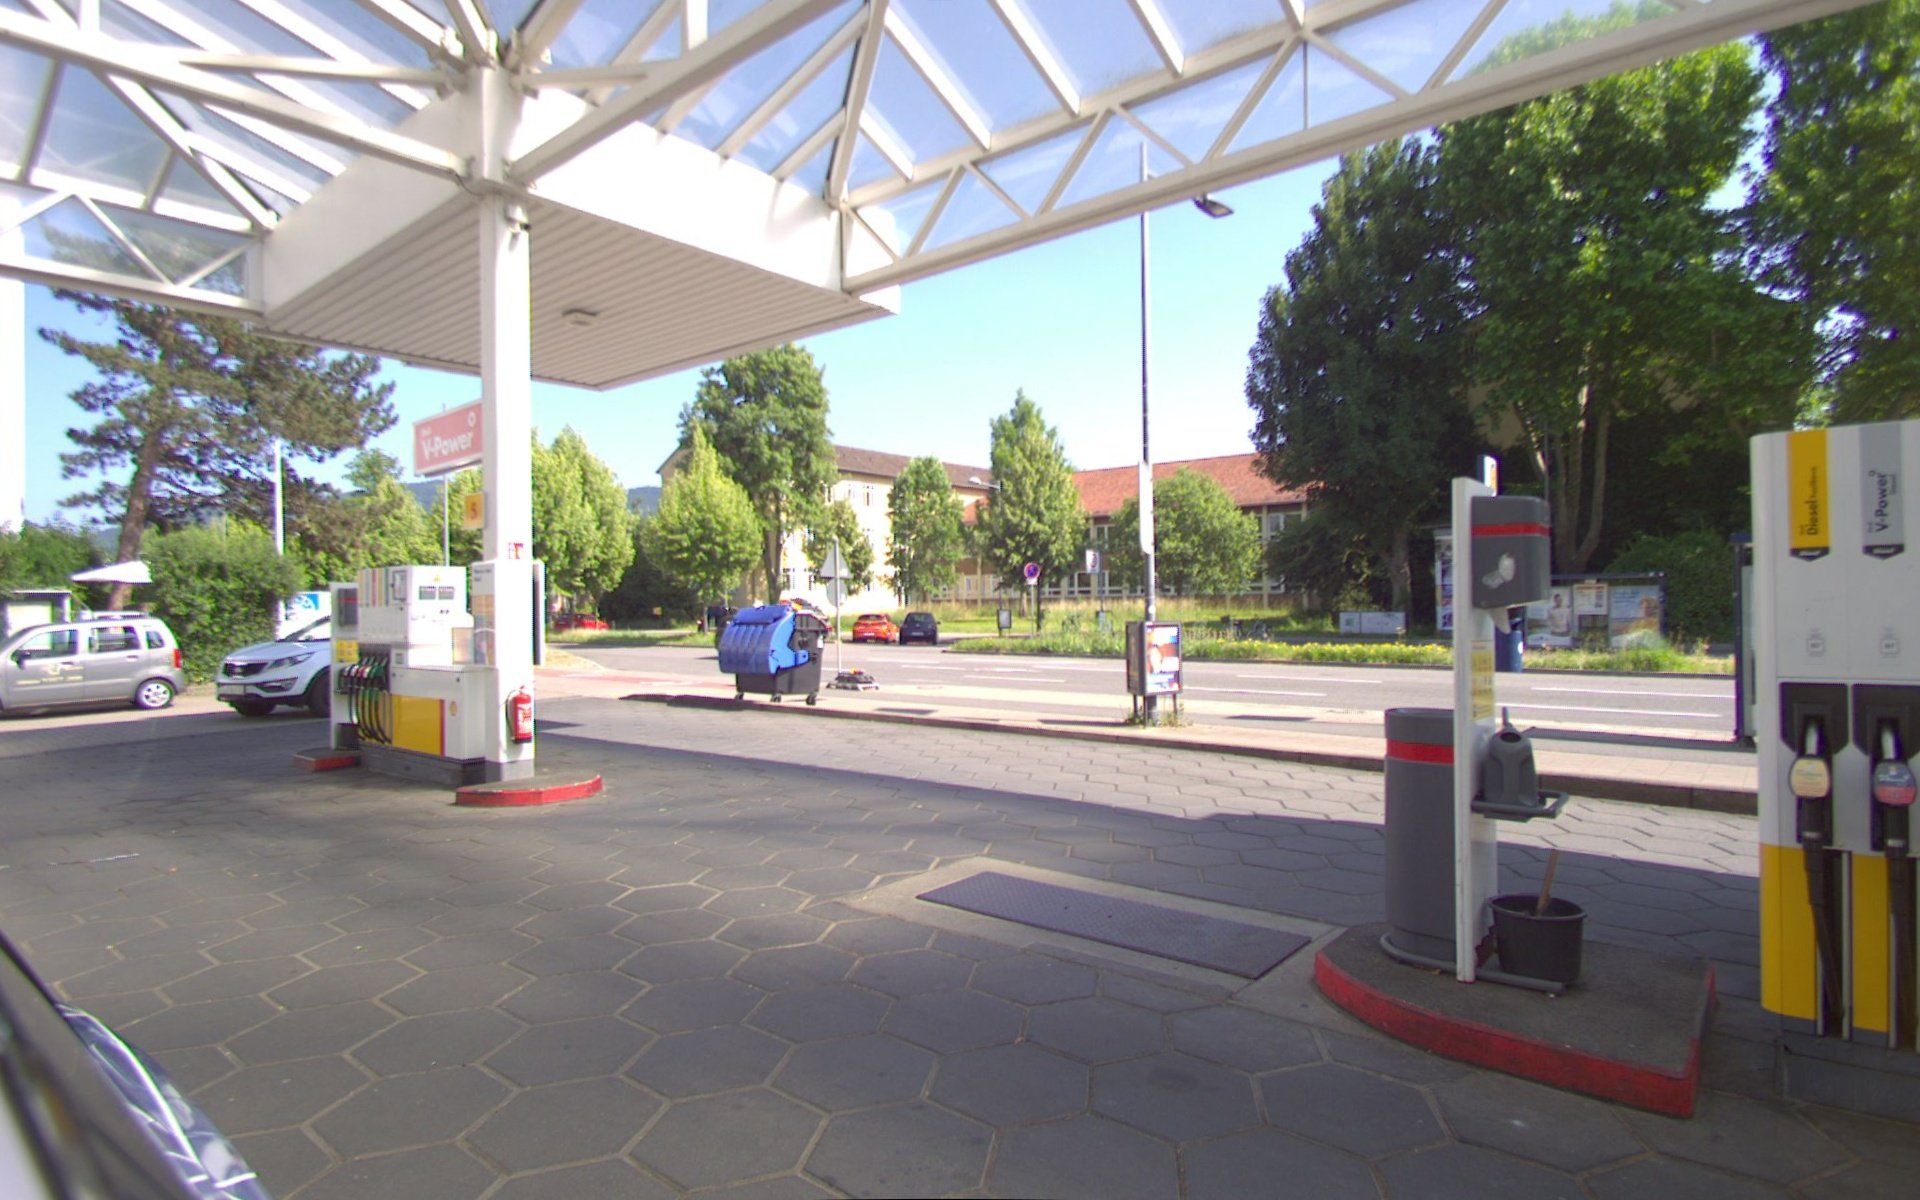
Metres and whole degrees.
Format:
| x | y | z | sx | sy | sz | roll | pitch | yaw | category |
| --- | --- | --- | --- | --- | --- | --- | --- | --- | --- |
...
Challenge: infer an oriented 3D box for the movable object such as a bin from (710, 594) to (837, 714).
| x | y | z | sx | sy | sz | roll | pitch | yaw | category |
| --- | --- | --- | --- | --- | --- | --- | --- | --- | --- |
| -2.811 | 0.797 | 15.278 | 1.337 | 1.701 | 1.324 | -1 | -3 | 41 | movable object such as a bin |

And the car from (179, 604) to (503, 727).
| x | y | z | sx | sy | sz | roll | pitch | yaw | category |
| --- | --- | --- | --- | --- | --- | --- | --- | --- | --- |
| -9.904 | 0.957 | 16.631 | 1.947 | 1.719 | 4.279 | -2 | -1 | 20 | car |

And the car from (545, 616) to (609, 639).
| x | y | z | sx | sy | sz | roll | pitch | yaw | category |
| --- | --- | --- | --- | --- | --- | --- | --- | --- | --- |
| -24.545 | 1.785 | 64.957 | 1.868 | 1.401 | 3.699 | 0 | -2 | 22 | car |

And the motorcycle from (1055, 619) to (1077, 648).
| x | y | z | sx | sy | sz | roll | pitch | yaw | category |
| --- | --- | --- | --- | --- | --- | --- | --- | --- | --- |
| 4.236 | 1.314 | 40.282 | 0.552 | 1.122 | 1.749 | -1 | -1 | 16 | motorcycle |

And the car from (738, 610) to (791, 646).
| x | y | z | sx | sy | sz | roll | pitch | yaw | category |
| --- | --- | --- | --- | --- | --- | --- | --- | --- | --- |
| -10.111 | 1.456 | 52.645 | 1.855 | 1.735 | 4.224 | 1 | -2 | 1 | car |

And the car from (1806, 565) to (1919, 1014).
| x | y | z | sx | sy | sz | roll | pitch | yaw | category |
| --- | --- | --- | --- | --- | --- | --- | --- | --- | --- |
| 5.173 | 0.654 | 3.042 | 3.997 | 1.543 | 1.726 | -1 | -2 | 40 | car |

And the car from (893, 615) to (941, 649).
| x | y | z | sx | sy | sz | roll | pitch | yaw | category |
| --- | --- | --- | --- | --- | --- | --- | --- | --- | --- |
| -1.900 | 1.437 | 45.738 | 1.719 | 1.471 | 4.220 | 0 | -2 | 4 | car |

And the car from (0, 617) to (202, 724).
| x | y | z | sx | sy | sz | roll | pitch | yaw | category |
| --- | --- | --- | --- | --- | --- | --- | --- | --- | --- |
| -15.586 | 1.188 | 17.567 | 1.692 | 1.629 | 3.612 | -1 | 1 | 41 | car |

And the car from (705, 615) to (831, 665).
| x | y | z | sx | sy | sz | roll | pitch | yaw | category |
| --- | --- | --- | --- | --- | --- | --- | --- | --- | --- |
| -6.325 | 1.270 | 33.090 | 4.372 | 1.479 | 1.550 | -1 | 0 | 38 | car |

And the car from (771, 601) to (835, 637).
| x | y | z | sx | sy | sz | roll | pitch | yaw | category |
| --- | --- | --- | --- | --- | --- | --- | --- | --- | --- |
| -7.870 | 0.987 | 50.997 | 1.861 | 1.735 | 4.211 | 0 | -2 | 11 | car |

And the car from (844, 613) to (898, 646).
| x | y | z | sx | sy | sz | roll | pitch | yaw | category |
| --- | --- | --- | --- | --- | --- | --- | --- | --- | --- |
| -4.112 | 1.371 | 47.411 | 1.857 | 1.471 | 4.220 | 1 | -2 | 4 | car |

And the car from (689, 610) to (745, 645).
| x | y | z | sx | sy | sz | roll | pitch | yaw | category |
| --- | --- | --- | --- | --- | --- | --- | --- | --- | --- |
| -12.633 | 1.425 | 52.883 | 1.855 | 1.735 | 4.224 | 1 | -2 | 1 | car |

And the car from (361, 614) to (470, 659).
| x | y | z | sx | sy | sz | roll | pitch | yaw | category |
| --- | --- | --- | --- | --- | --- | --- | --- | --- | --- |
| -22.189 | 1.469 | 41.473 | 1.685 | 1.733 | 4.392 | 0 | -1 | 8 | car |
